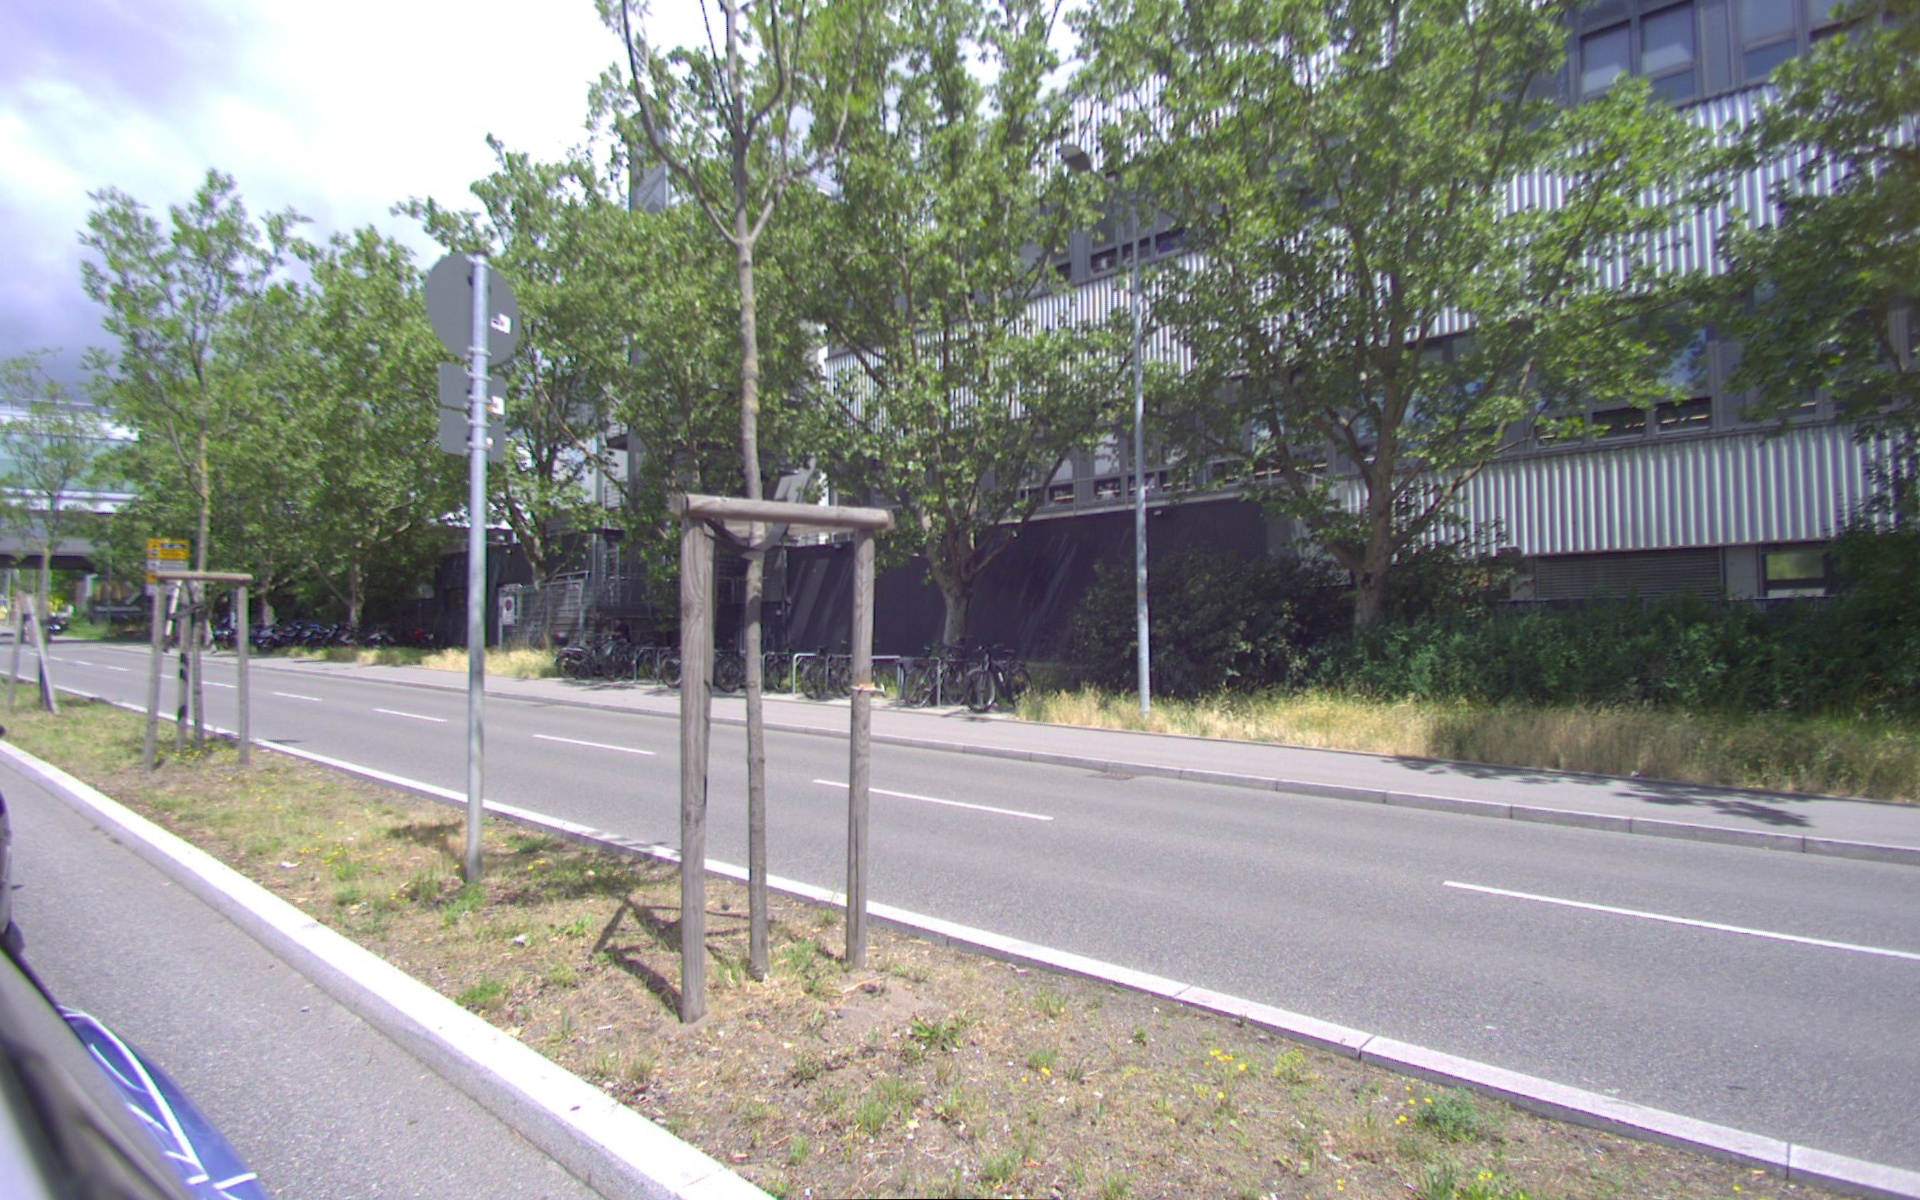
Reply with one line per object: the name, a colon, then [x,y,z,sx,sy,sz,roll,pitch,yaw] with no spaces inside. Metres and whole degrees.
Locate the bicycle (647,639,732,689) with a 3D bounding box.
bicycle: [-6.488,1.515,24.415,0.382,1.119,2.101,-2,-1,43]

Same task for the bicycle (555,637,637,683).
bicycle: [-9.553,1.556,26.632,0.382,1.119,2.101,-2,-1,43]

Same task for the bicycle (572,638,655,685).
bicycle: [-8.912,1.575,26.087,0.382,1.119,2.101,-2,-1,43]

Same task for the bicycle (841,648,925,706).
bicycle: [-1.477,1.479,19.708,0.381,1.005,1.968,-2,-1,39]

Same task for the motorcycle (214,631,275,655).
motorcycle: [-31.138,1.850,44.085,0.534,0.976,2.105,-2,-1,41]

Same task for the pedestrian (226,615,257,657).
pedestrian: [-29.942,1.509,42.189,0.672,1.734,0.888,-2,-2,41]

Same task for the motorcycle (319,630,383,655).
motorcycle: [-23.944,1.659,39.800,0.534,0.905,2.105,-2,-1,41]

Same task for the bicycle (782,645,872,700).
bicycle: [-2.751,1.482,21.137,0.382,1.038,2.101,-2,-1,43]

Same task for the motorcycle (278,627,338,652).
motorcycle: [-27.885,1.678,43.321,0.534,0.976,2.105,-2,-1,41]

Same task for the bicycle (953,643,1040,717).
bicycle: [0.652,1.341,17.398,0.381,1.137,1.968,-2,-1,39]

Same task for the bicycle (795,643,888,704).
bicycle: [-2.347,1.438,20.229,0.382,1.104,2.101,-2,-1,43]

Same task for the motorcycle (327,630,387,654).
motorcycle: [-24.863,1.721,41.758,0.534,0.892,2.105,-2,-1,41]

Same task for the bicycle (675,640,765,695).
bicycle: [-5.341,1.492,22.668,0.382,1.119,2.101,-2,-1,43]

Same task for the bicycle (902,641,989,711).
bicycle: [-0.227,1.338,18.121,0.381,1.137,1.968,-2,-1,39]

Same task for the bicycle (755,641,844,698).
bicycle: [-3.419,1.459,21.752,0.382,1.119,2.101,-2,-1,43]

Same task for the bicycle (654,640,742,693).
bicycle: [-5.997,1.503,23.265,0.382,1.119,2.101,-2,-1,43]

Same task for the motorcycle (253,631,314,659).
motorcycle: [-29.279,1.942,43.824,0.534,1.146,2.105,-2,-1,41]

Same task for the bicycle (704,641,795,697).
bicycle: [-4.550,1.482,22.018,0.382,1.119,2.101,-2,-1,43]

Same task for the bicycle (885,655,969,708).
bicycle: [-0.605,1.523,19.222,0.381,0.897,1.968,-2,-1,39]

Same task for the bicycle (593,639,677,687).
bicycle: [-8.168,1.570,25.538,0.382,1.119,2.101,-2,-1,43]
